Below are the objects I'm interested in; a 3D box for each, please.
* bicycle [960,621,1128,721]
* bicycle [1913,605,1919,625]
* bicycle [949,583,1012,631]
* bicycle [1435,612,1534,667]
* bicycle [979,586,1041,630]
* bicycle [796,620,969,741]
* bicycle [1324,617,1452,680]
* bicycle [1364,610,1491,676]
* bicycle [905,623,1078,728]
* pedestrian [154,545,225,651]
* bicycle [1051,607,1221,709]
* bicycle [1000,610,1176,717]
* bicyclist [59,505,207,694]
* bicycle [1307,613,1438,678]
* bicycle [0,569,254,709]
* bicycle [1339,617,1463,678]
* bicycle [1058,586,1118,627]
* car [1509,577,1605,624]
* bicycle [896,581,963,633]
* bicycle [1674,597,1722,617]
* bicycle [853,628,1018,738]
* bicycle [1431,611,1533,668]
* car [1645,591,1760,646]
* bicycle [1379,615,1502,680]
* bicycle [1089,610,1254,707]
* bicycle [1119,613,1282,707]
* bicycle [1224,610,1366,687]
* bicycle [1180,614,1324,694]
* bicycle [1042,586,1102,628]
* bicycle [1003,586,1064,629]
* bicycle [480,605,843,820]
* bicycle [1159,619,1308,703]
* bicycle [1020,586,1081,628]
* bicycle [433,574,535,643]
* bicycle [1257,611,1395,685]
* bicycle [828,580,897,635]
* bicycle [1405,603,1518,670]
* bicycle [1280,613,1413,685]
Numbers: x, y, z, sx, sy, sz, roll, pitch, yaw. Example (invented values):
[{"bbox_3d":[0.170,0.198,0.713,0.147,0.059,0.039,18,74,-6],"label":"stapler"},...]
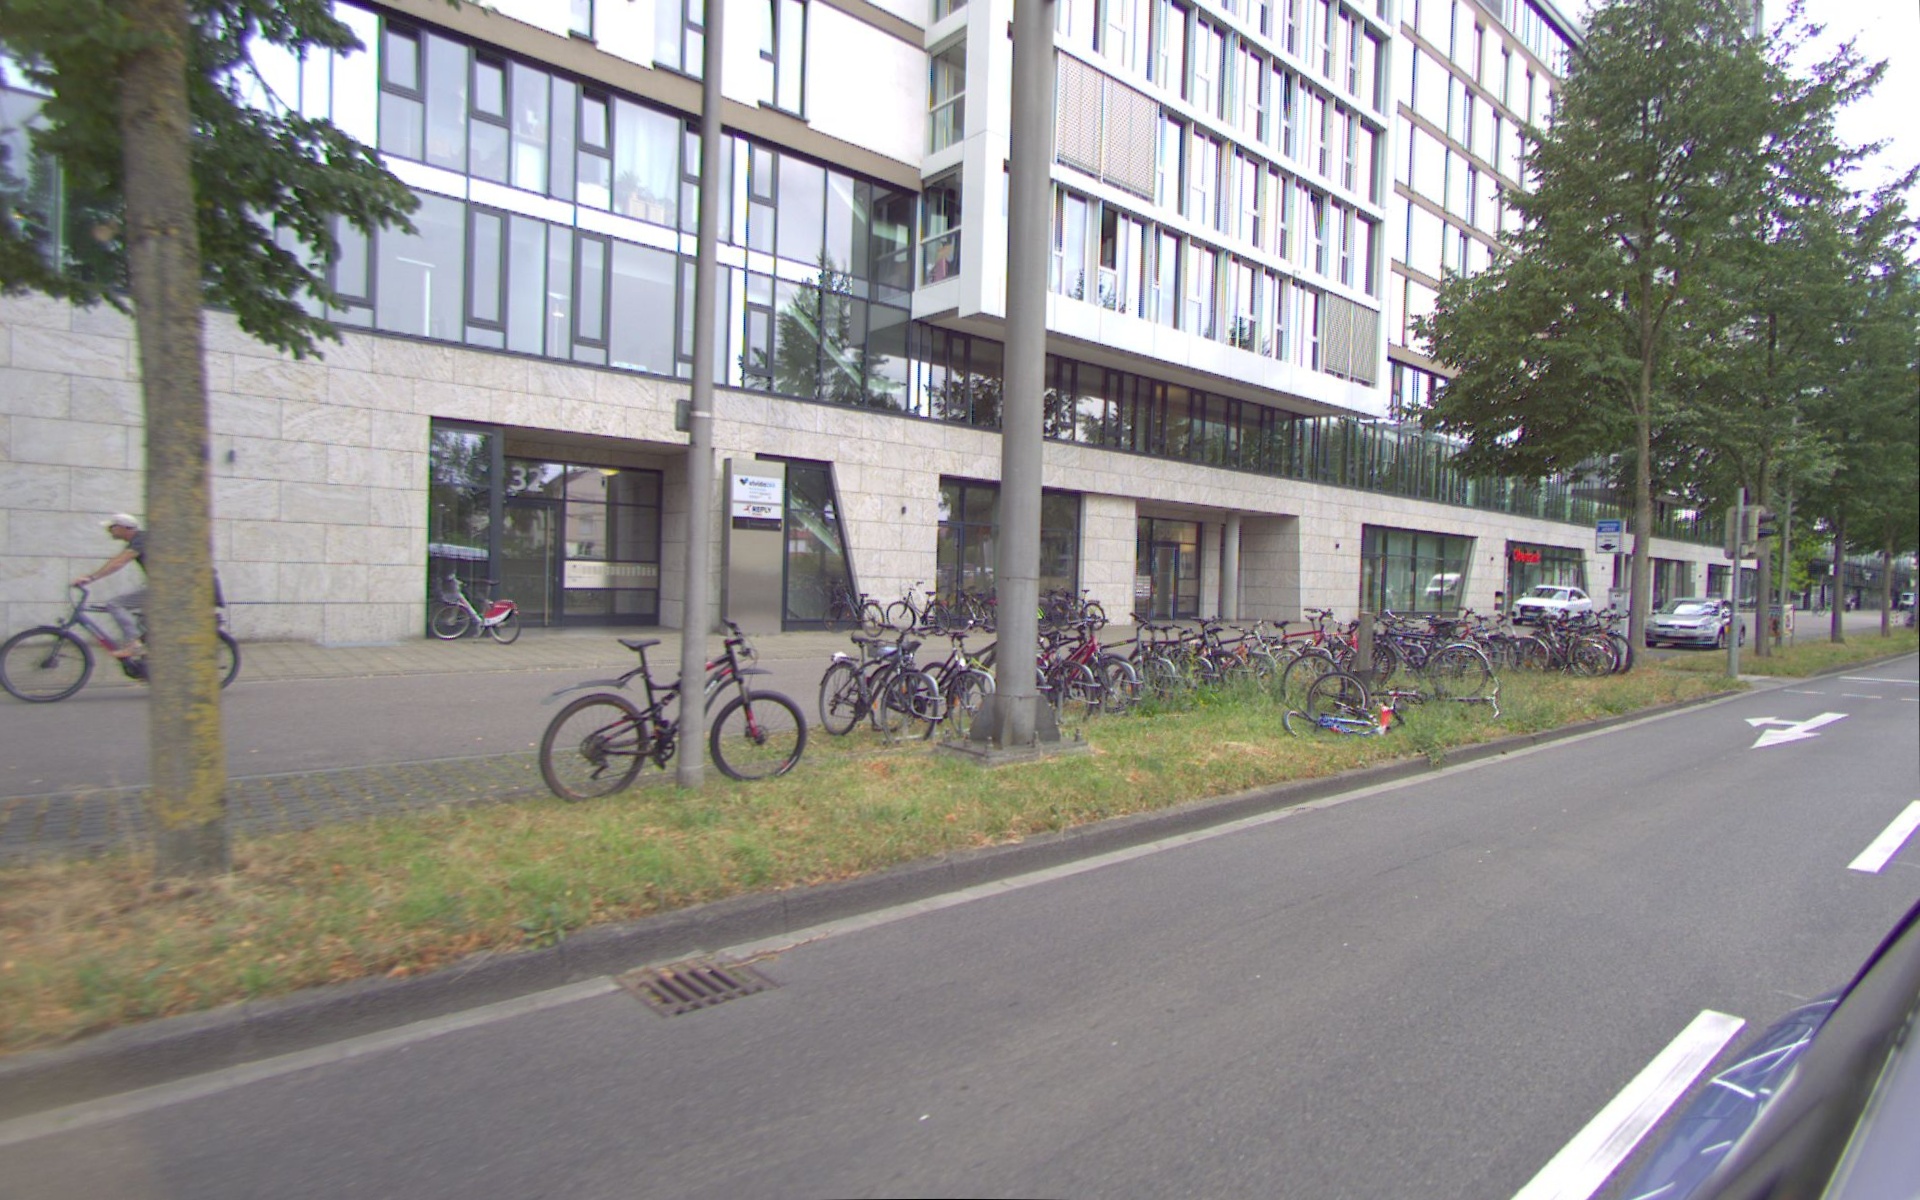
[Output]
[{"bbox_3d":[0.851,0.716,10.756,0.602,0.963,1.862,0,-1,-43],"label":"bicycle"},{"bbox_3d":[44.975,0.686,47.108,2.077,0.887,0.634,-1,0,-39],"label":"bicycle"},{"bbox_3d":[0.471,0.142,23.557,0.524,1.039,1.531,0,2,-43],"label":"bicycle"},{"bbox_3d":[9.650,0.705,18.657,0.543,0.965,1.530,1,-1,-43],"label":"bicycle"},{"bbox_3d":[1.189,0.185,24.139,0.524,0.965,1.531,0,2,-43],"label":"bicycle"},{"bbox_3d":[-0.760,0.693,9.380,0.564,1.008,1.862,0,-1,-43],"label":"bicycle"},{"bbox_3d":[6.587,0.733,15.626,1.713,0.917,0.580,-1,-1,42],"label":"bicycle"},{"bbox_3d":[7.589,0.680,16.483,1.770,1.025,0.601,-1,-1,42],"label":"bicycle"},{"bbox_3d":[0.280,0.721,10.304,0.642,0.963,1.862,0,-1,-43],"label":"bicycle"},{"bbox_3d":[-10.641,-0.039,13.993,0.707,1.424,0.759,1,1,-33],"label":"pedestrian"},{"bbox_3d":[1.984,0.628,11.626,0.631,1.079,1.931,0,-1,-43],"label":"bicycle"},{"bbox_3d":[1.372,0.662,11.194,0.693,1.079,1.931,0,-1,-43],"label":"bicycle"},{"bbox_3d":[-8.368,-0.037,10.248,1.110,1.758,0.999,0,4,-41],"label":"bicyclist"},{"bbox_3d":[6.157,0.666,15.169,1.713,0.917,0.580,-1,-1,42],"label":"bicycle"},{"bbox_3d":[-8.506,0.351,10.163,2.229,1.250,0.904,0,4,-42],"label":"bicycle"},{"bbox_3d":[6.990,0.734,16.084,1.713,0.917,0.580,-1,-1,42],"label":"bicycle"},{"bbox_3d":[3.292,0.155,26.109,0.524,0.965,1.531,0,2,-43],"label":"bicycle"},{"bbox_3d":[23.089,0.015,39.108,4.165,1.607,1.862,0,4,-41],"label":"car"},{"bbox_3d":[-0.679,0.136,22.148,0.524,1.039,1.600,0,3,-43],"label":"bicycle"},{"bbox_3d":[48.110,0.465,65.994,2.418,1.191,1.185,3,2,43],"label":"bicycle"},{"bbox_3d":[-0.281,0.759,9.828,0.493,0.963,1.862,1,-1,-43],"label":"bicycle"},{"bbox_3d":[9.246,0.676,17.961,0.476,0.965,1.530,1,-1,-43],"label":"bicycle"},{"bbox_3d":[21.351,0.483,29.044,4.109,1.439,1.764,0,2,-41],"label":"car"},{"bbox_3d":[8.043,0.771,16.999,1.771,1.025,0.601,0,-1,42],"label":"bicycle"},{"bbox_3d":[2.497,0.673,12.131,1.928,1.079,0.535,-1,-1,42],"label":"bicycle"},{"bbox_3d":[2.934,0.704,12.495,1.928,1.079,0.535,-1,-1,42],"label":"bicycle"},{"bbox_3d":[4.544,0.635,13.807,1.742,0.986,0.600,-1,-1,42],"label":"bicycle"},{"bbox_3d":[3.829,0.682,13.365,1.742,0.986,0.600,-1,-1,42],"label":"bicycle"},{"bbox_3d":[2.831,0.164,25.670,0.524,0.965,1.531,0,2,-43],"label":"bicycle"},{"bbox_3d":[1.781,0.163,24.693,0.524,0.965,1.531,0,2,-43],"label":"bicycle"},{"bbox_3d":[-1.785,0.600,6.395,0.709,1.130,2.170,-2,-1,41],"label":"bicycle"},{"bbox_3d":[3.450,0.744,12.867,1.742,0.986,0.600,-1,-1,42],"label":"bicycle"},{"bbox_3d":[2.237,0.158,25.075,0.524,0.965,1.531,0,2,-43],"label":"bicycle"},{"bbox_3d":[-7.808,0.120,16.585,1.585,1.039,0.606,3,2,23],"label":"bicycle"},{"bbox_3d":[5.167,0.656,14.348,1.742,0.986,0.600,-1,-1,42],"label":"bicycle"},{"bbox_3d":[-2.026,0.135,20.935,0.524,1.039,1.600,0,3,-43],"label":"bicycle"},{"bbox_3d":[8.663,0.611,17.530,0.516,1.104,1.669,1,-1,-43],"label":"bicycle"},{"bbox_3d":[5.627,0.691,14.793,1.713,0.986,0.600,-1,-1,42],"label":"bicycle"}]
